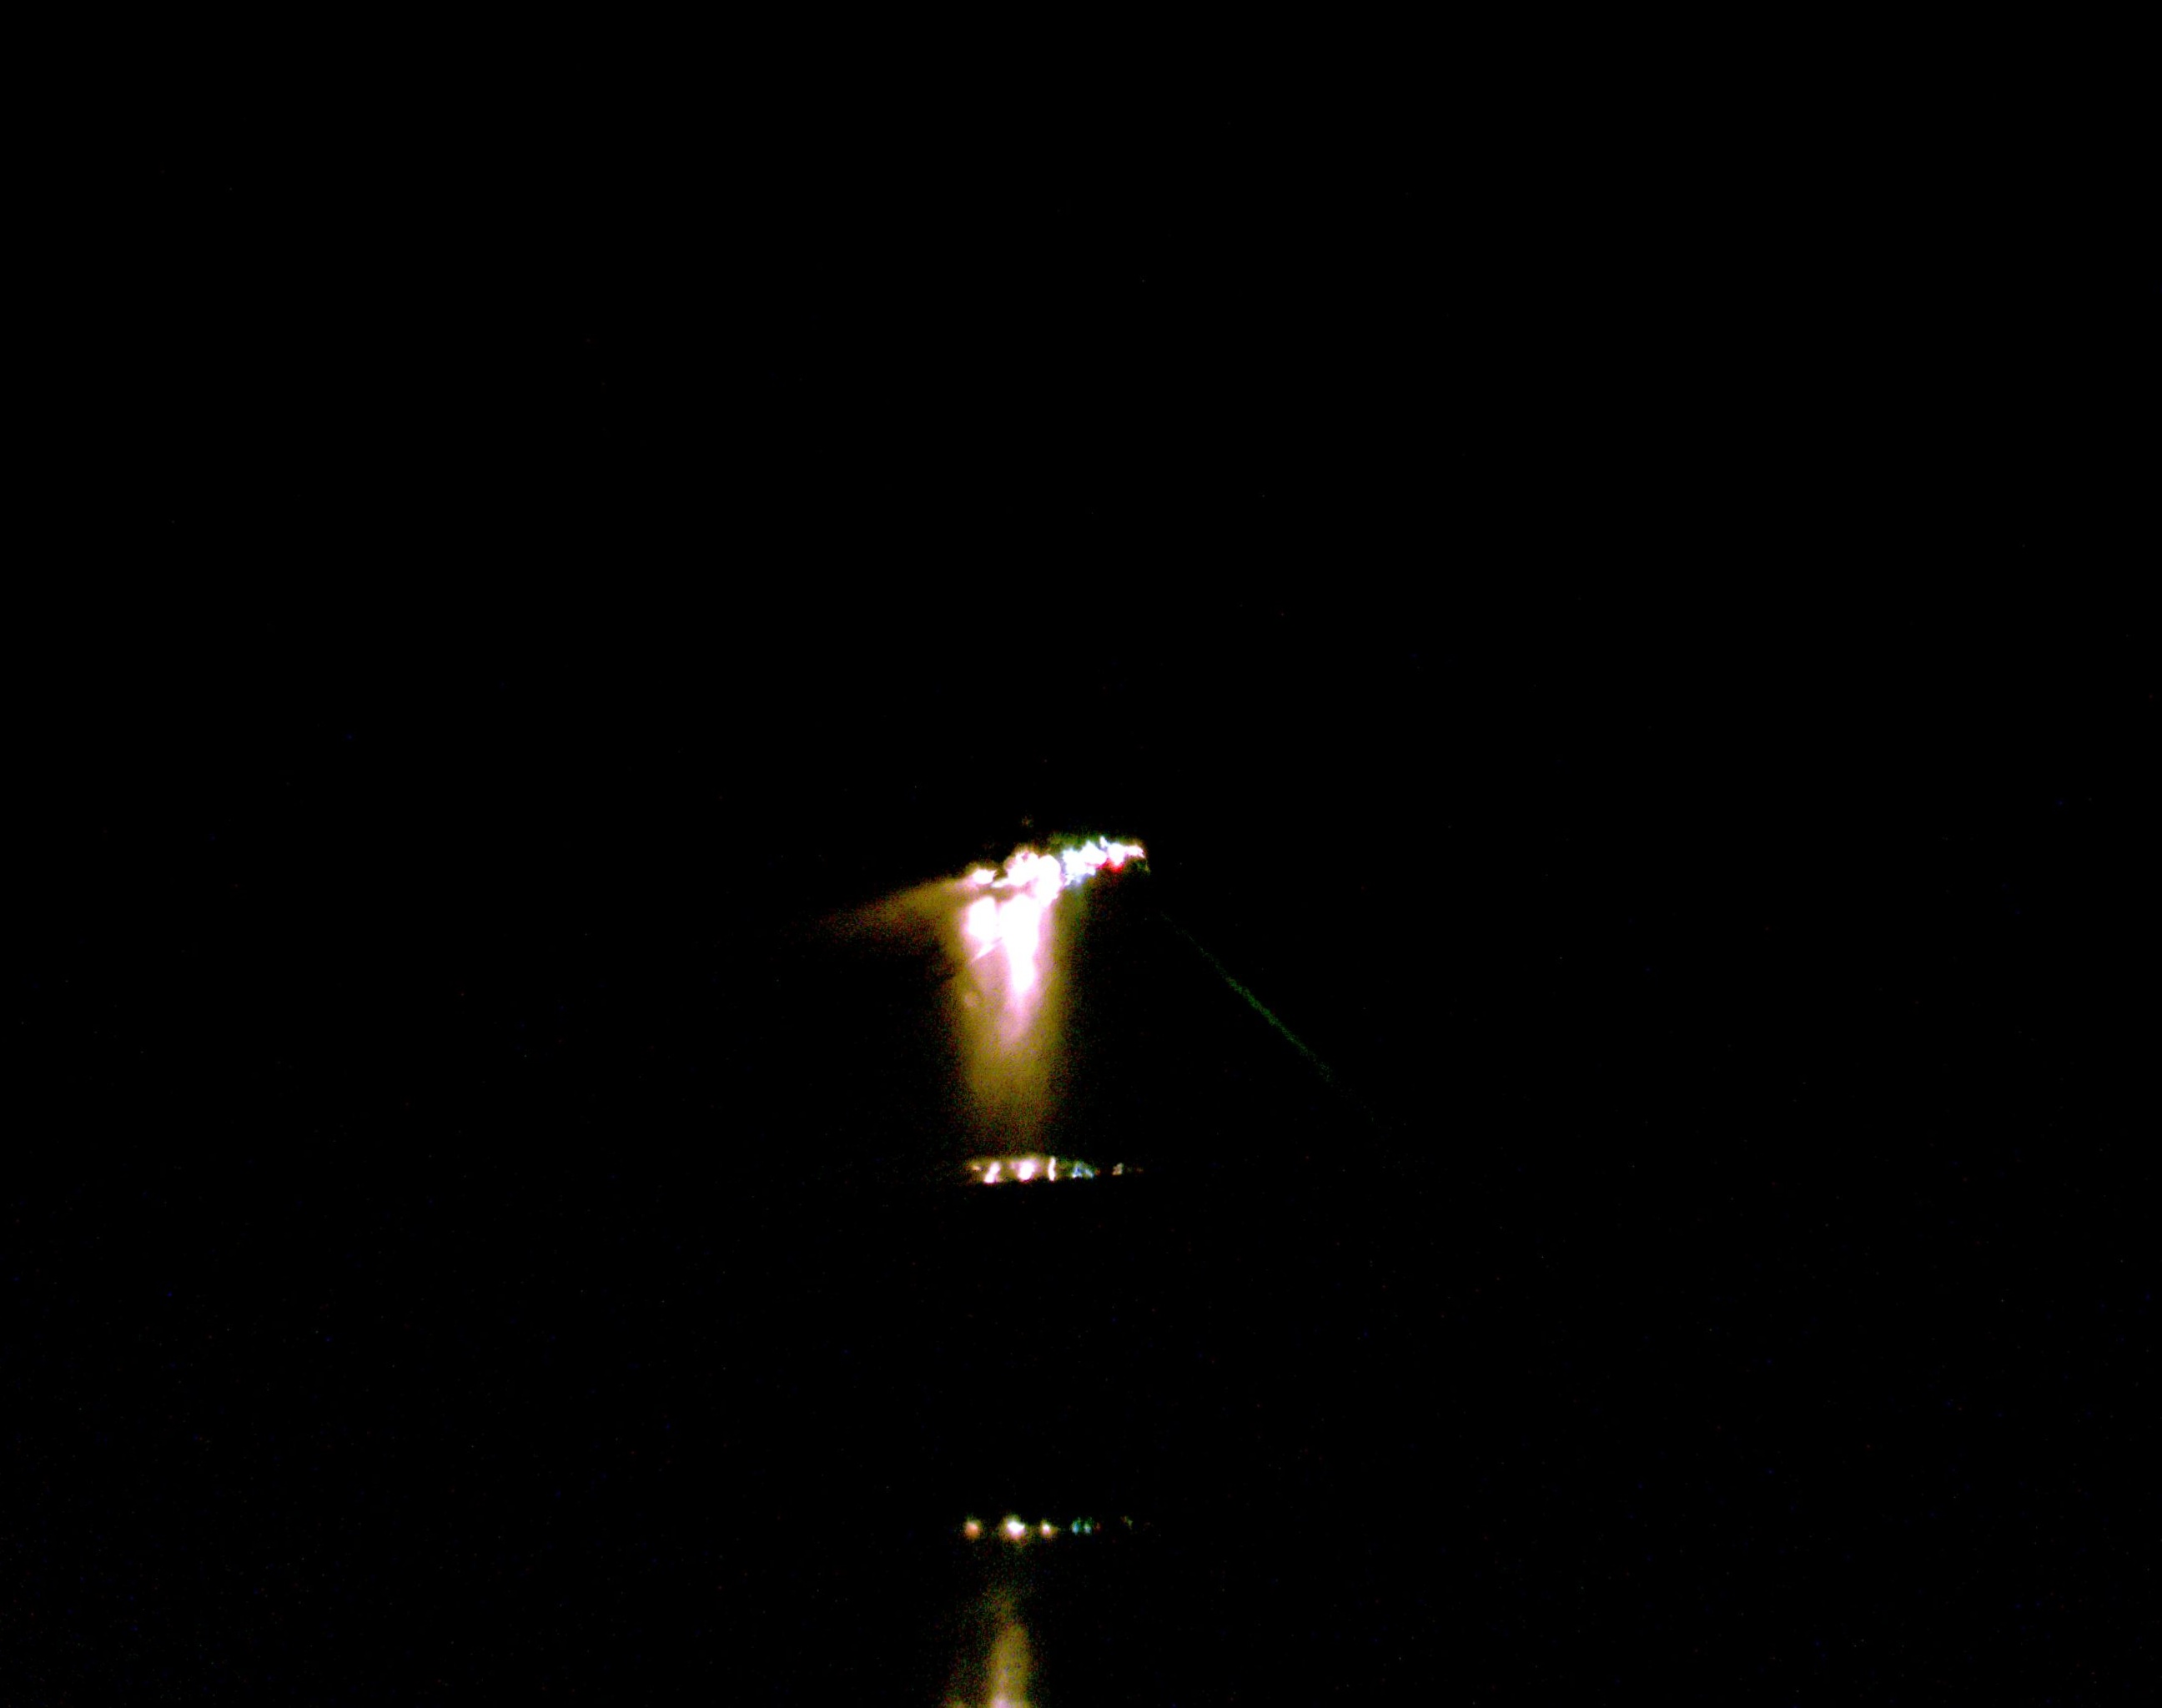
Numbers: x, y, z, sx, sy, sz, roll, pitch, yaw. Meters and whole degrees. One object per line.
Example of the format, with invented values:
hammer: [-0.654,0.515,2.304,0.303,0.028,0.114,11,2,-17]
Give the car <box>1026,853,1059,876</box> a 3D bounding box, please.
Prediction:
car: [-2.481,0.703,53.484,1.812,1.441,4.002,0,-1,2]

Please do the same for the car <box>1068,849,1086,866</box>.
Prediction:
car: [-0.470,0.422,93.279,1.796,1.928,4.003,0,-1,3]

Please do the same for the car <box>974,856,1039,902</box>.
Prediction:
car: [-2.797,0.916,31.468,1.986,1.661,4.002,0,-1,2]

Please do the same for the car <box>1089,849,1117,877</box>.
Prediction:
car: [1.467,0.579,55.538,1.836,1.740,4.000,1,1,0]
